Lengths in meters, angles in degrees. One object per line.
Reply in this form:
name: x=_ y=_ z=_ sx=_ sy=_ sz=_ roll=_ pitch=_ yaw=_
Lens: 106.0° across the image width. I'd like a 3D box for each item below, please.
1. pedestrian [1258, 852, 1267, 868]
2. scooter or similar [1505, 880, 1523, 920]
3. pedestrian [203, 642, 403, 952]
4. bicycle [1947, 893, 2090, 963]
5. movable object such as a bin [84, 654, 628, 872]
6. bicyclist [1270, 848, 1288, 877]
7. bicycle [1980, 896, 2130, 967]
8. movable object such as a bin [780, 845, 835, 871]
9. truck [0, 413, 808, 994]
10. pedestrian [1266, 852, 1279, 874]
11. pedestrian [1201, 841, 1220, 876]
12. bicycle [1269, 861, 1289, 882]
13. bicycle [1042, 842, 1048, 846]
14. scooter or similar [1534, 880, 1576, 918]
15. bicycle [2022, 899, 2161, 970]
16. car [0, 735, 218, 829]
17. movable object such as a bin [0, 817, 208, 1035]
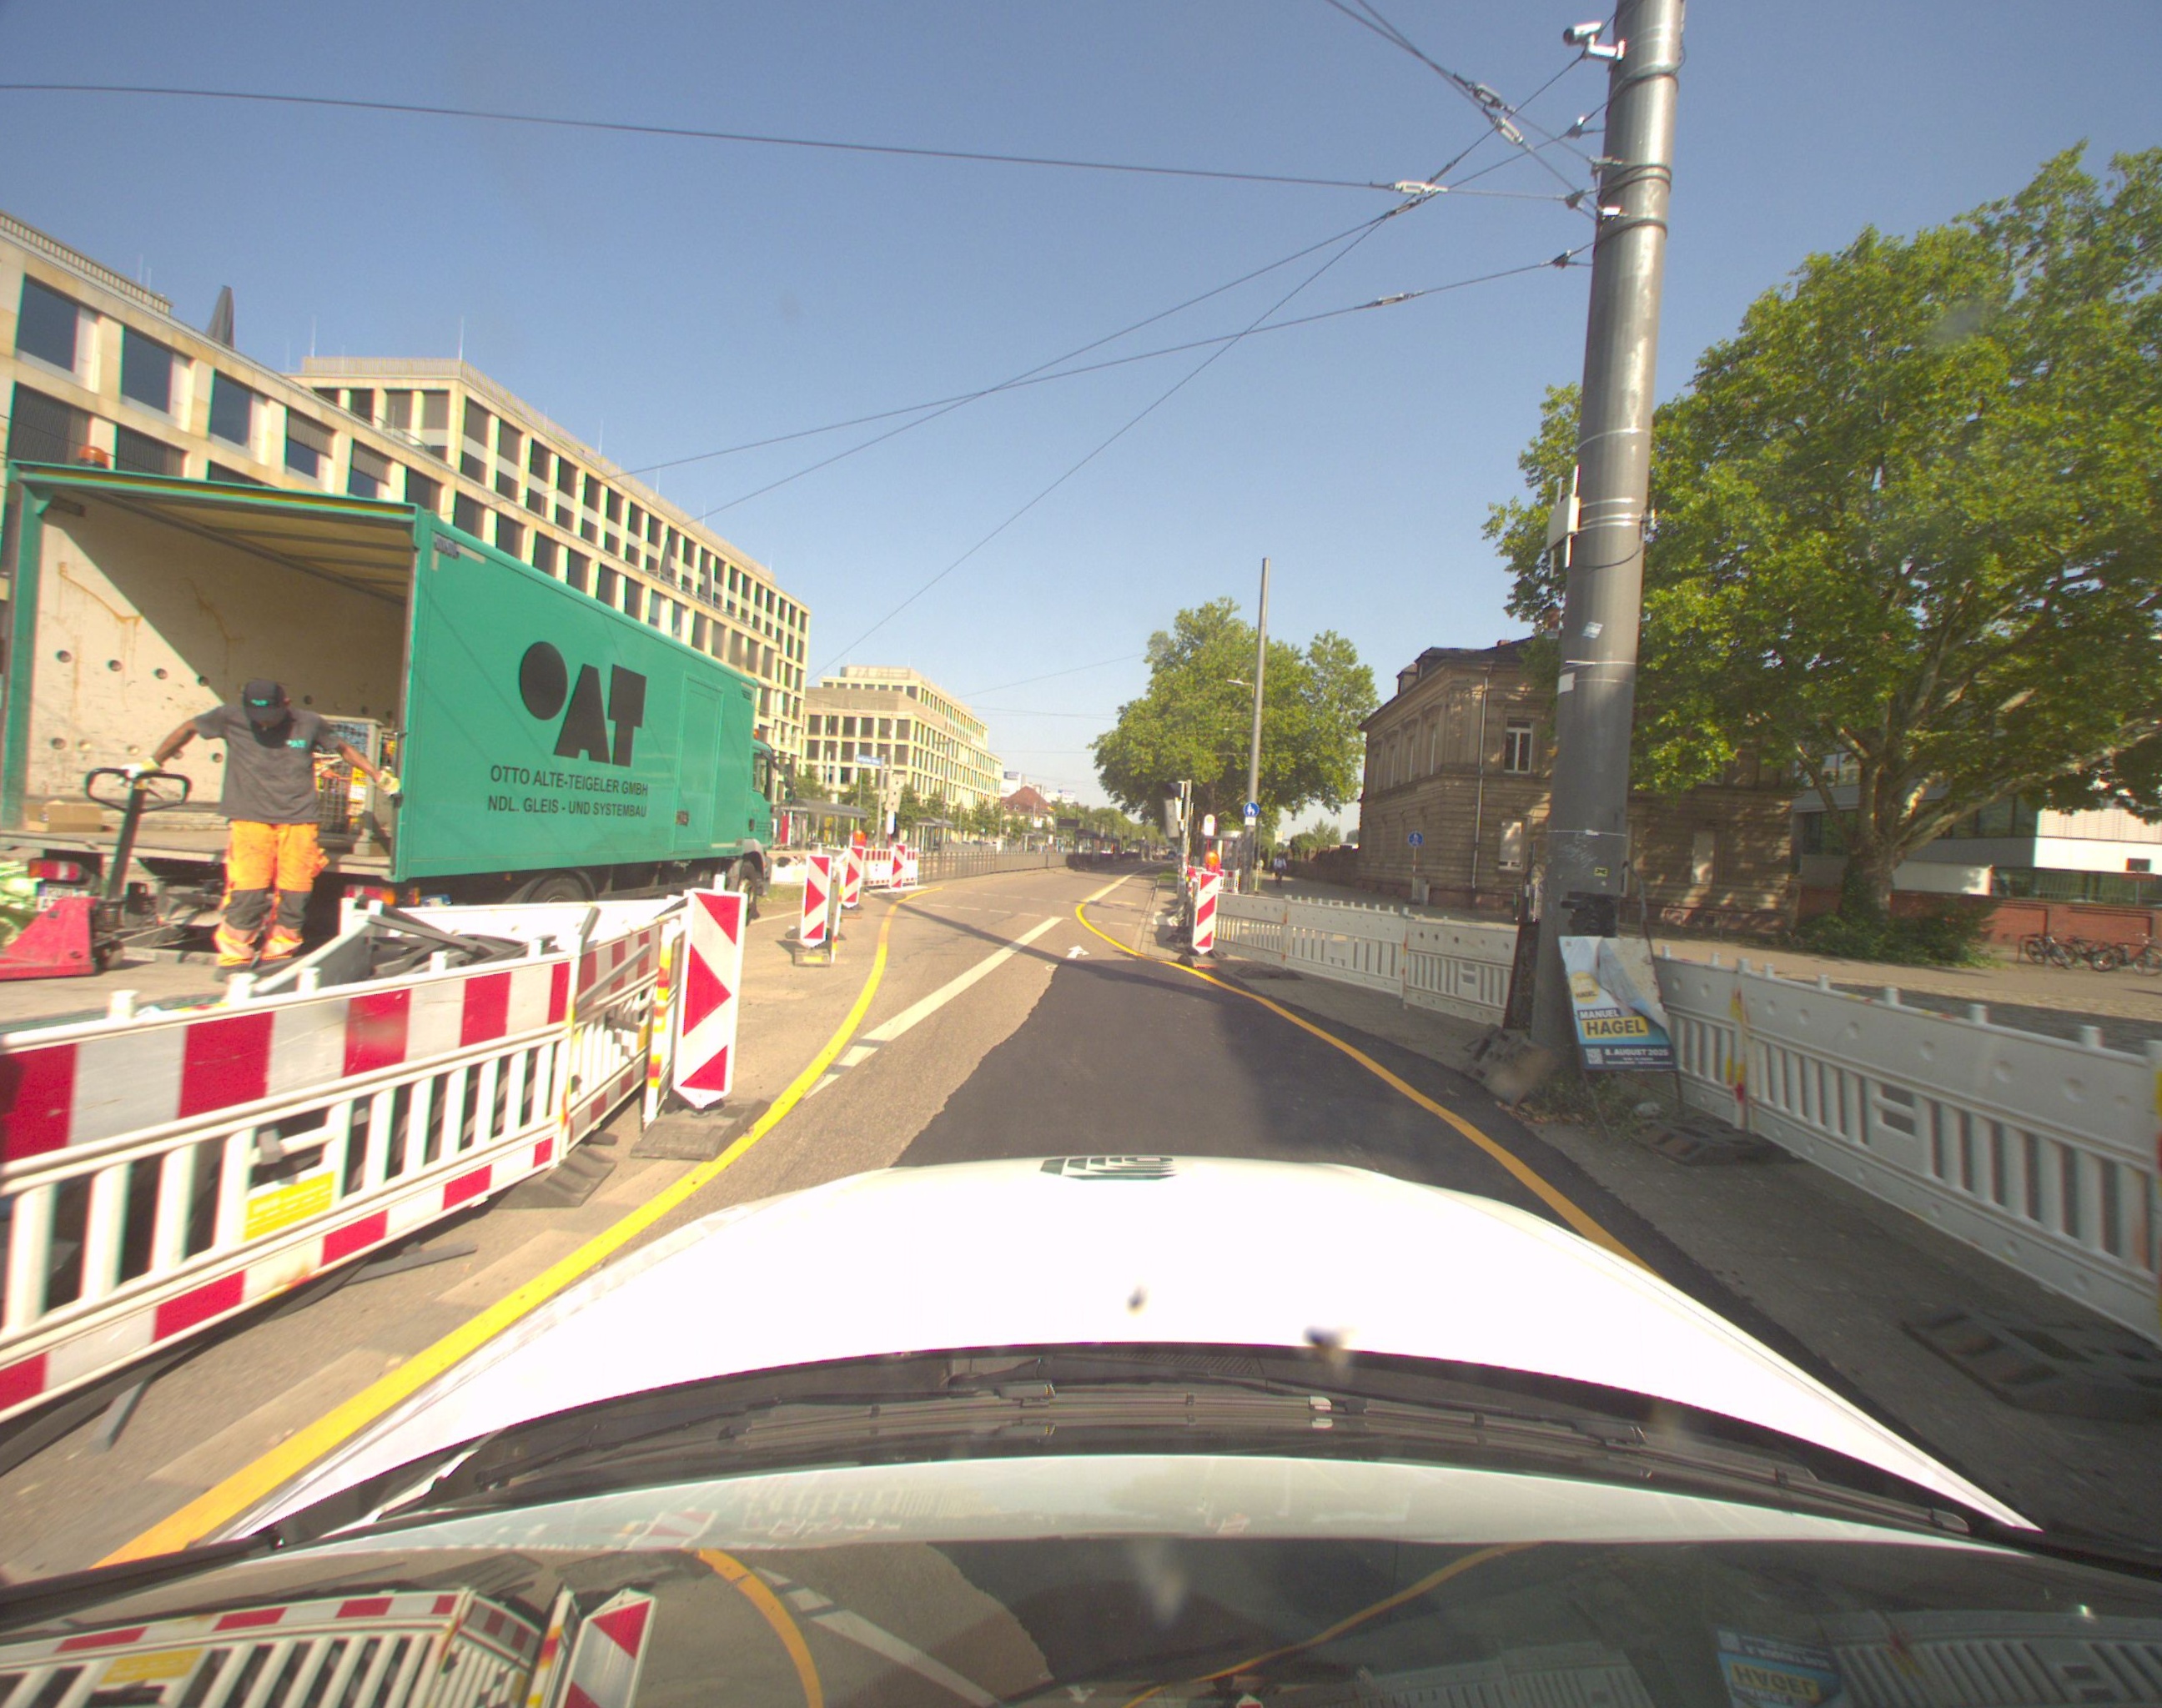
pedestrian: x=19.260 y=0.633 z=86.216 sx=0.802 sy=1.604 sz=0.949 roll=2 pitch=0 yaw=7
scooter or similar: x=14.399 y=1.509 z=27.071 sx=0.417 sy=1.209 sz=1.263 roll=4 pitch=3 yaw=29
pedestrian: x=-4.742 y=-0.315 z=4.968 sx=0.698 sy=1.693 sz=0.770 roll=4 pitch=0 yaw=43
bicycle: x=29.070 y=2.234 z=25.377 sx=0.842 sy=1.802 sz=3.291 roll=4 pitch=1 yaw=6
movable object such as a bin: x=-16.592 y=-1.723 z=19.761 sx=3.471 sy=4.012 sz=9.097 roll=4 pitch=1 yaw=31
bicyclist: x=10.796 y=0.457 z=44.339 sx=0.714 sy=1.543 sz=0.957 roll=3 pitch=1 yaw=5
bicycle: x=30.026 y=2.321 z=25.232 sx=0.842 sy=1.802 sz=3.291 roll=4 pitch=1 yaw=6
movable object such as a bin: x=-8.225 y=0.118 z=24.478 sx=1.492 sy=0.652 sz=0.705 roll=4 pitch=1 yaw=28
truck: x=-5.911 y=-1.059 z=9.512 sx=2.667 sy=3.677 sz=8.209 roll=3 pitch=1 yaw=-2
pedestrian: x=15.262 y=0.679 z=64.986 sx=0.814 sy=1.686 sz=1.014 roll=3 pitch=0 yaw=7
pedestrian: x=6.496 y=0.233 z=40.888 sx=0.688 sy=1.696 sz=0.646 roll=3 pitch=1 yaw=-14
bicycle: x=10.771 y=0.940 z=44.352 sx=0.714 sy=1.041 sz=1.906 roll=3 pitch=1 yaw=5
bicycle: x=-5.850 y=-1.605 z=131.380 sx=0.473 sy=0.662 sz=1.618 roll=3 pitch=1 yaw=12
scooter or similar: x=15.939 y=1.512 z=27.381 sx=1.254 sy=1.209 sz=0.420 roll=2 pitch=2 yaw=-19
bicycle: x=31.096 y=2.412 z=24.971 sx=0.842 sy=1.802 sz=3.291 roll=4 pitch=1 yaw=6
car: x=-25.401 y=-1.773 z=20.174 sx=1.795 sy=2.030 sz=5.147 roll=4 pitch=1 yaw=24
movable object such as a bin: x=-5.785 y=0.357 z=4.267 sx=0.639 sy=1.092 sz=1.486 roll=4 pitch=0 yaw=11
